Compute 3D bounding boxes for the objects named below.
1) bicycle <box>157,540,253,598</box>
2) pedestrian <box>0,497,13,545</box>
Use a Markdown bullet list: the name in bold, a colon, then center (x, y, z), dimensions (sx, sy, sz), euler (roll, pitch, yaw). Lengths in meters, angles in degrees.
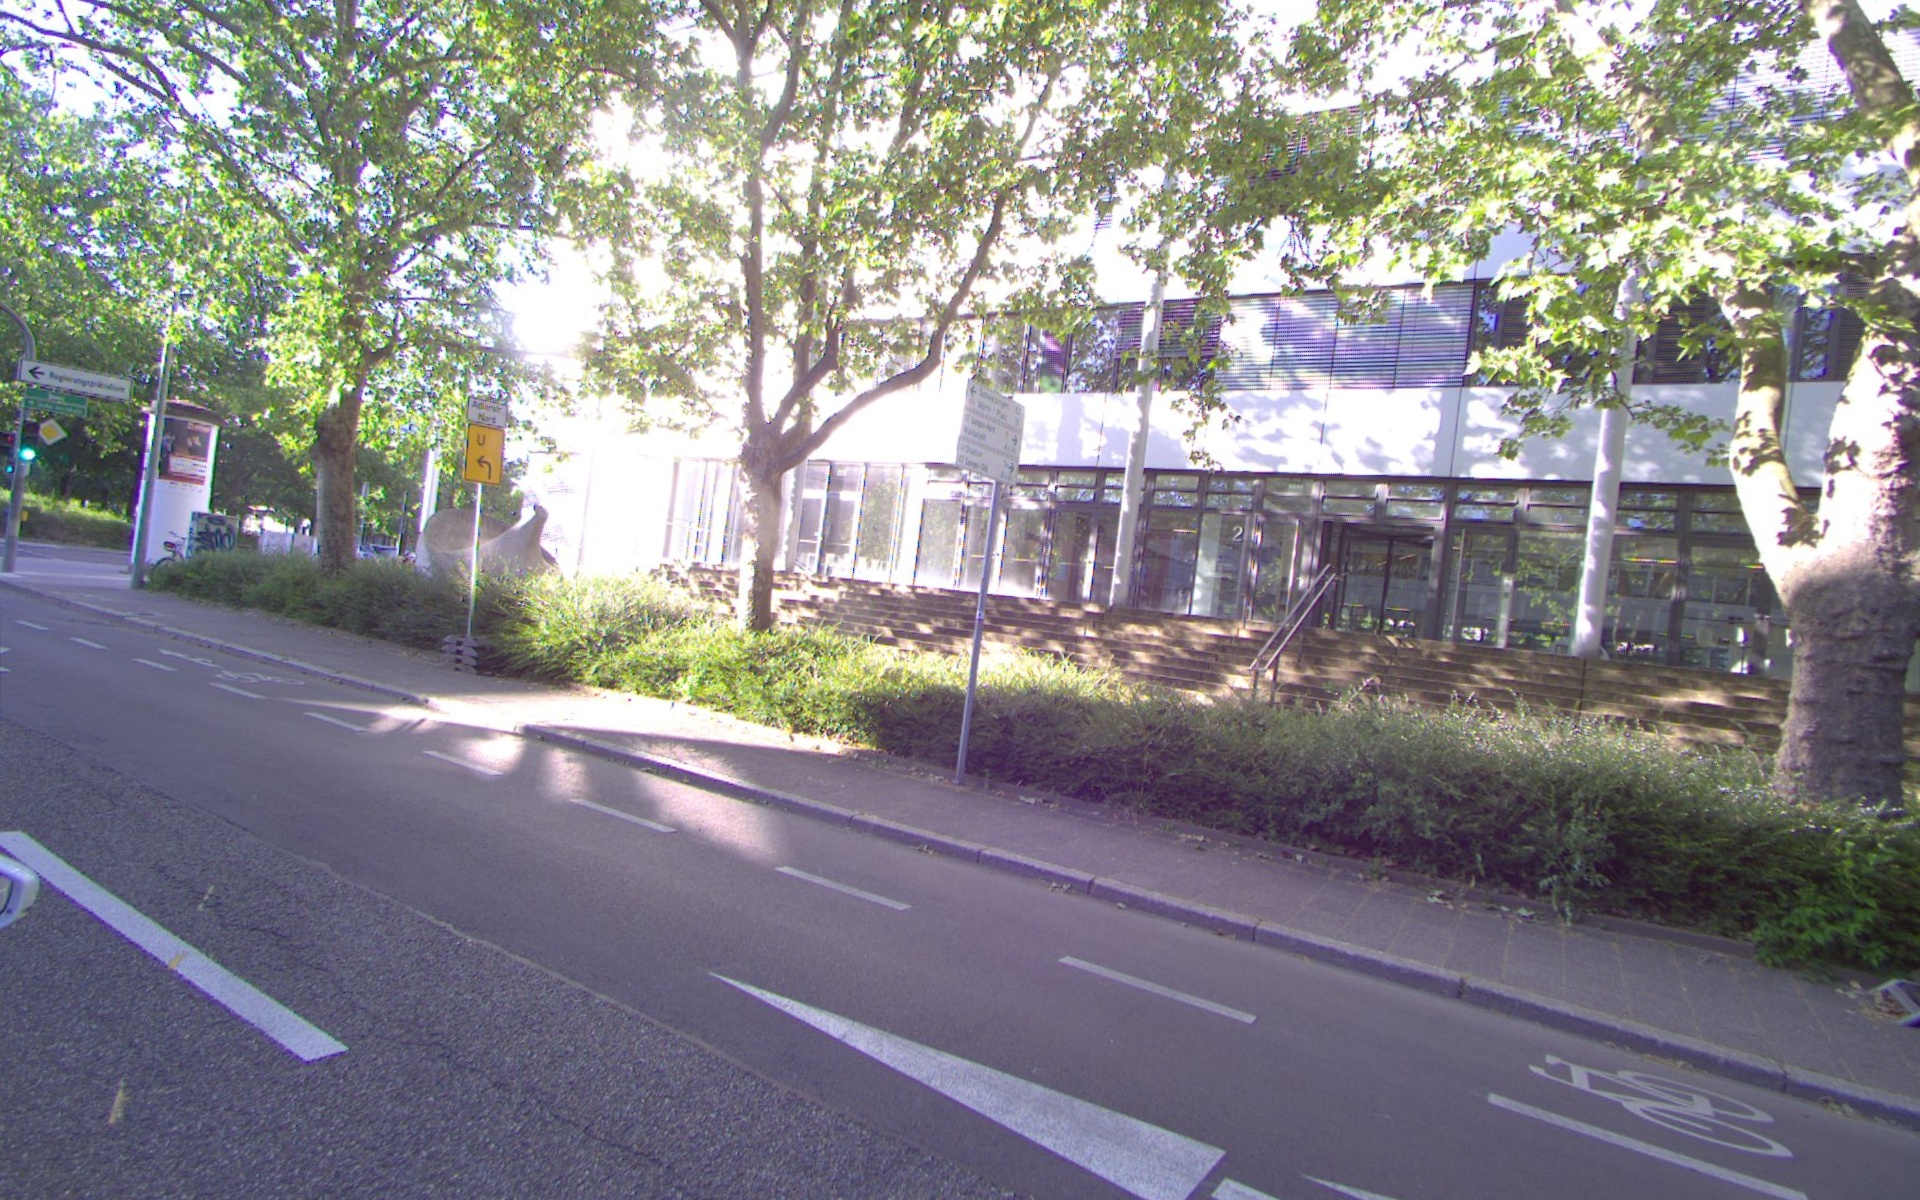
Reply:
- **bicycle**: center (-15.912, -0.635, 21.256), dimensions (0.631, 1.040, 1.887), euler (7, -2, -5)
- **pedestrian**: center (-32.094, -2.677, 33.254), dimensions (0.893, 1.563, 0.638), euler (7, -1, 17)
